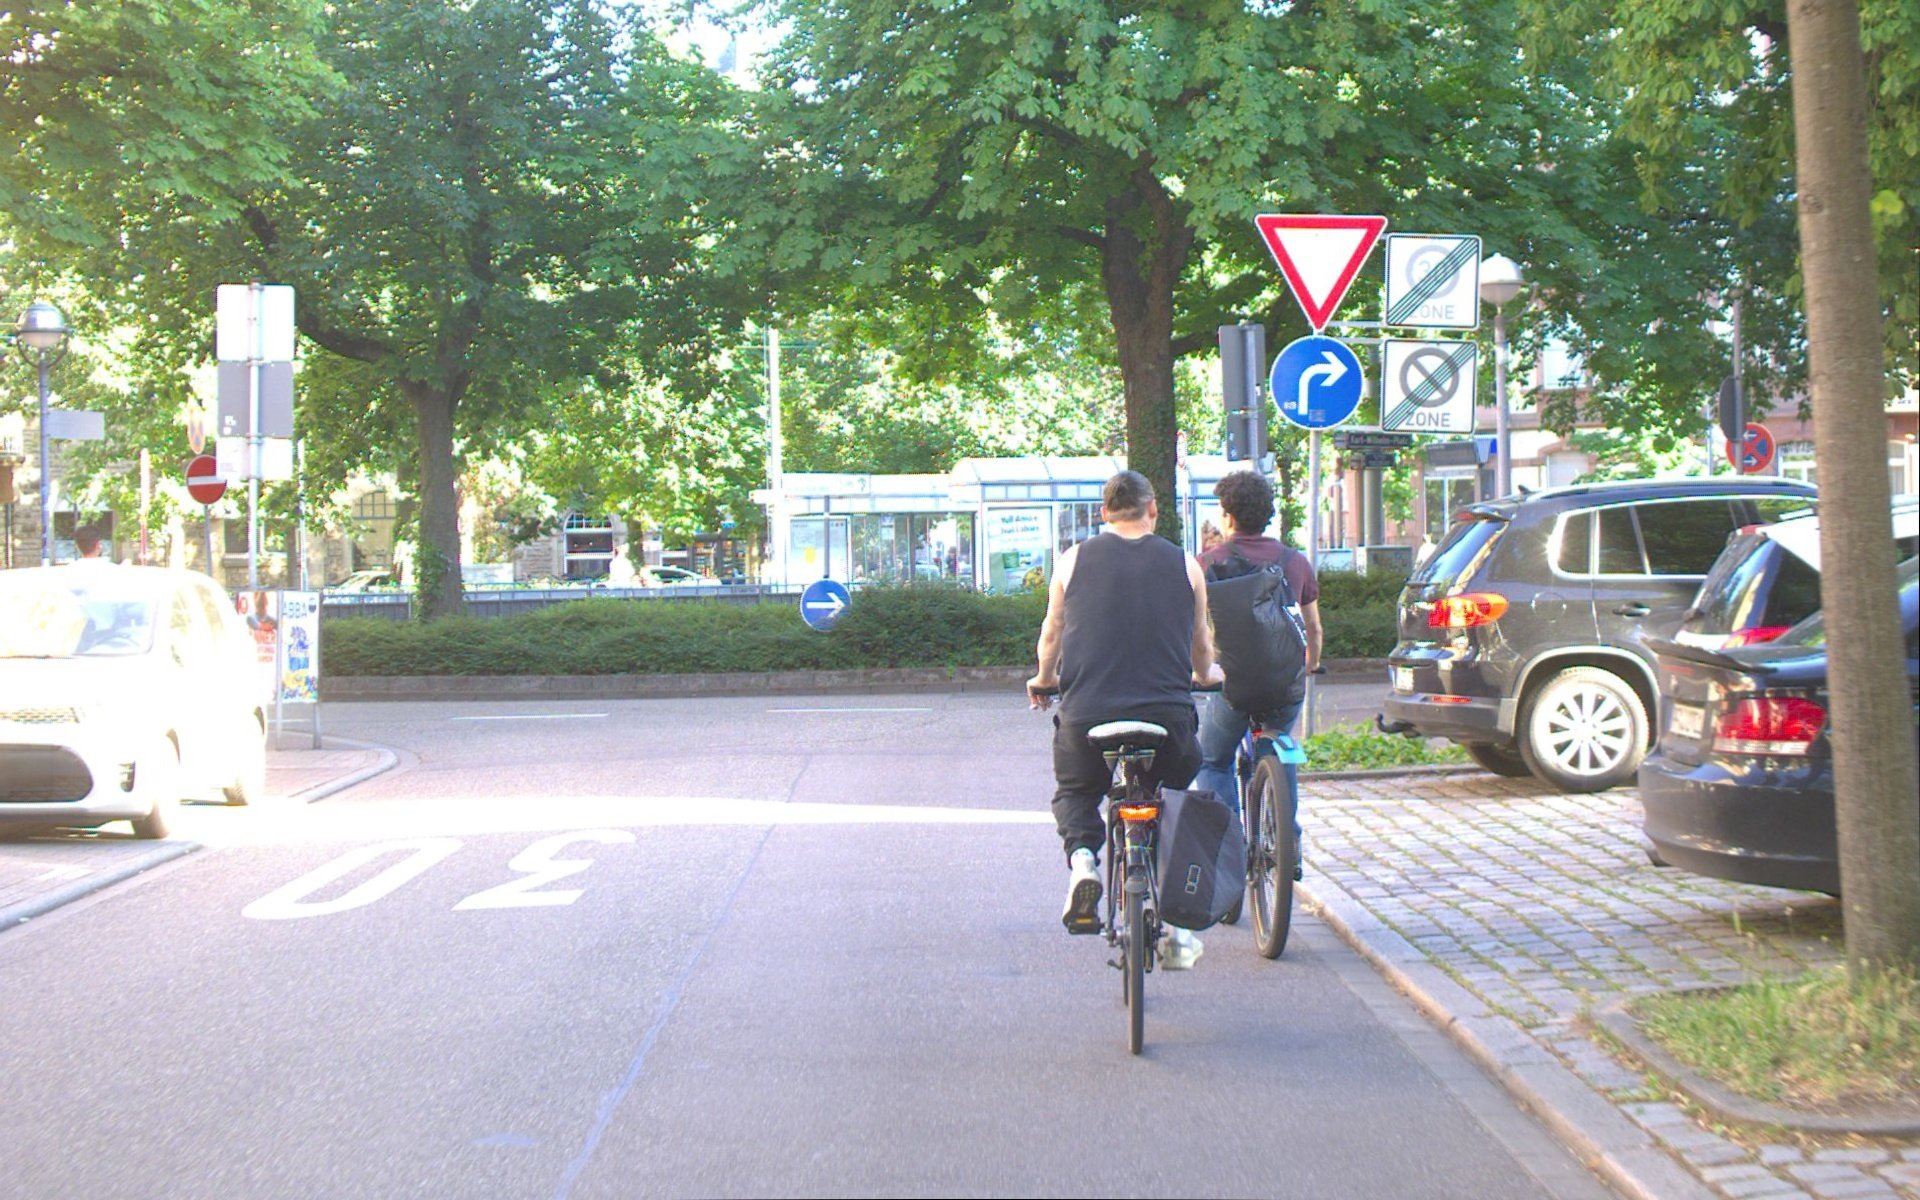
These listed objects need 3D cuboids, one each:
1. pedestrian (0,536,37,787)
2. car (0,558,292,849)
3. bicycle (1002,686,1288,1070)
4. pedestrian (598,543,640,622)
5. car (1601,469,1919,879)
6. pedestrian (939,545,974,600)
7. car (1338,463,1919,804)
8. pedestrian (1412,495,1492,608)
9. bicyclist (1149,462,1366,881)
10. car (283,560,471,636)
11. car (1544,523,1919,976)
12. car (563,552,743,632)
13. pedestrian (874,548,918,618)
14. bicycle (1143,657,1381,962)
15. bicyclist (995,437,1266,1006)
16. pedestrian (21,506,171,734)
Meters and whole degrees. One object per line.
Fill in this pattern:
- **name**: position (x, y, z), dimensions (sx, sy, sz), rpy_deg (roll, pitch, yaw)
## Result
- **pedestrian**: position (-6.426, 0.392, 22.330), dimensions (0.600, 1.599, 0.855), rpy_deg (-1, 1, -1)
- **car**: position (-5.080, 0.518, 19.855), dimensions (1.705, 1.480, 3.797), rpy_deg (1, 1, 0)
- **bicycle**: position (0.534, 0.809, 10.713), dimensions (0.737, 1.008, 2.061), rpy_deg (1, 0, -1)
- **pedestrian**: position (-7.316, -0.377, 73.733), dimensions (0.701, 1.689, 0.671), rpy_deg (1, 1, -22)
- **car**: position (4.732, 0.265, 14.705), dimensions (3.693, 1.645, 1.704), rpy_deg (-1, 1, 3)
- **pedestrian**: position (-0.118, -0.843, 103.578), dimensions (1.000, 1.625, 1.064), rpy_deg (-1, 1, -2)
- **car**: position (4.386, 0.121, 19.428), dimensions (4.105, 1.707, 2.024), rpy_deg (-2, 2, -5)
- **pedestrian**: position (7.433, -0.733, 51.910), dimensions (0.898, 1.678, 0.818), rpy_deg (-1, 1, 33)
- **bicyclist**: position (1.109, 0.261, 13.010), dimensions (0.671, 1.509, 1.069), rpy_deg (-1, 0, -1)
- **car**: position (-13.774, -0.065, 81.303), dimensions (3.938, 1.673, 1.953), rpy_deg (-2, 1, -44)
- **car**: position (4.307, 0.382, 12.131), dimensions (4.104, 1.407, 1.792), rpy_deg (-4, 1, 0)
- **car**: position (-7.633, -0.217, 85.462), dimensions (3.986, 1.864, 2.000), rpy_deg (-2, 1, -26)
- **pedestrian**: position (-1.420, -0.377, 76.302), dimensions (0.809, 1.538, 0.821), rpy_deg (1, 1, -12)
- **bicycle**: position (1.118, 0.756, 13.141), dimensions (0.674, 1.050, 2.061), rpy_deg (-1, -1, -1)
- **bicyclist**: position (0.511, 0.355, 10.667), dimensions (0.752, 1.676, 0.913), rpy_deg (-1, 1, -1)
- **pedestrian**: position (-6.381, 0.139, 25.428), dimensions (0.867, 1.637, 0.860), rpy_deg (-1, 1, -1)
